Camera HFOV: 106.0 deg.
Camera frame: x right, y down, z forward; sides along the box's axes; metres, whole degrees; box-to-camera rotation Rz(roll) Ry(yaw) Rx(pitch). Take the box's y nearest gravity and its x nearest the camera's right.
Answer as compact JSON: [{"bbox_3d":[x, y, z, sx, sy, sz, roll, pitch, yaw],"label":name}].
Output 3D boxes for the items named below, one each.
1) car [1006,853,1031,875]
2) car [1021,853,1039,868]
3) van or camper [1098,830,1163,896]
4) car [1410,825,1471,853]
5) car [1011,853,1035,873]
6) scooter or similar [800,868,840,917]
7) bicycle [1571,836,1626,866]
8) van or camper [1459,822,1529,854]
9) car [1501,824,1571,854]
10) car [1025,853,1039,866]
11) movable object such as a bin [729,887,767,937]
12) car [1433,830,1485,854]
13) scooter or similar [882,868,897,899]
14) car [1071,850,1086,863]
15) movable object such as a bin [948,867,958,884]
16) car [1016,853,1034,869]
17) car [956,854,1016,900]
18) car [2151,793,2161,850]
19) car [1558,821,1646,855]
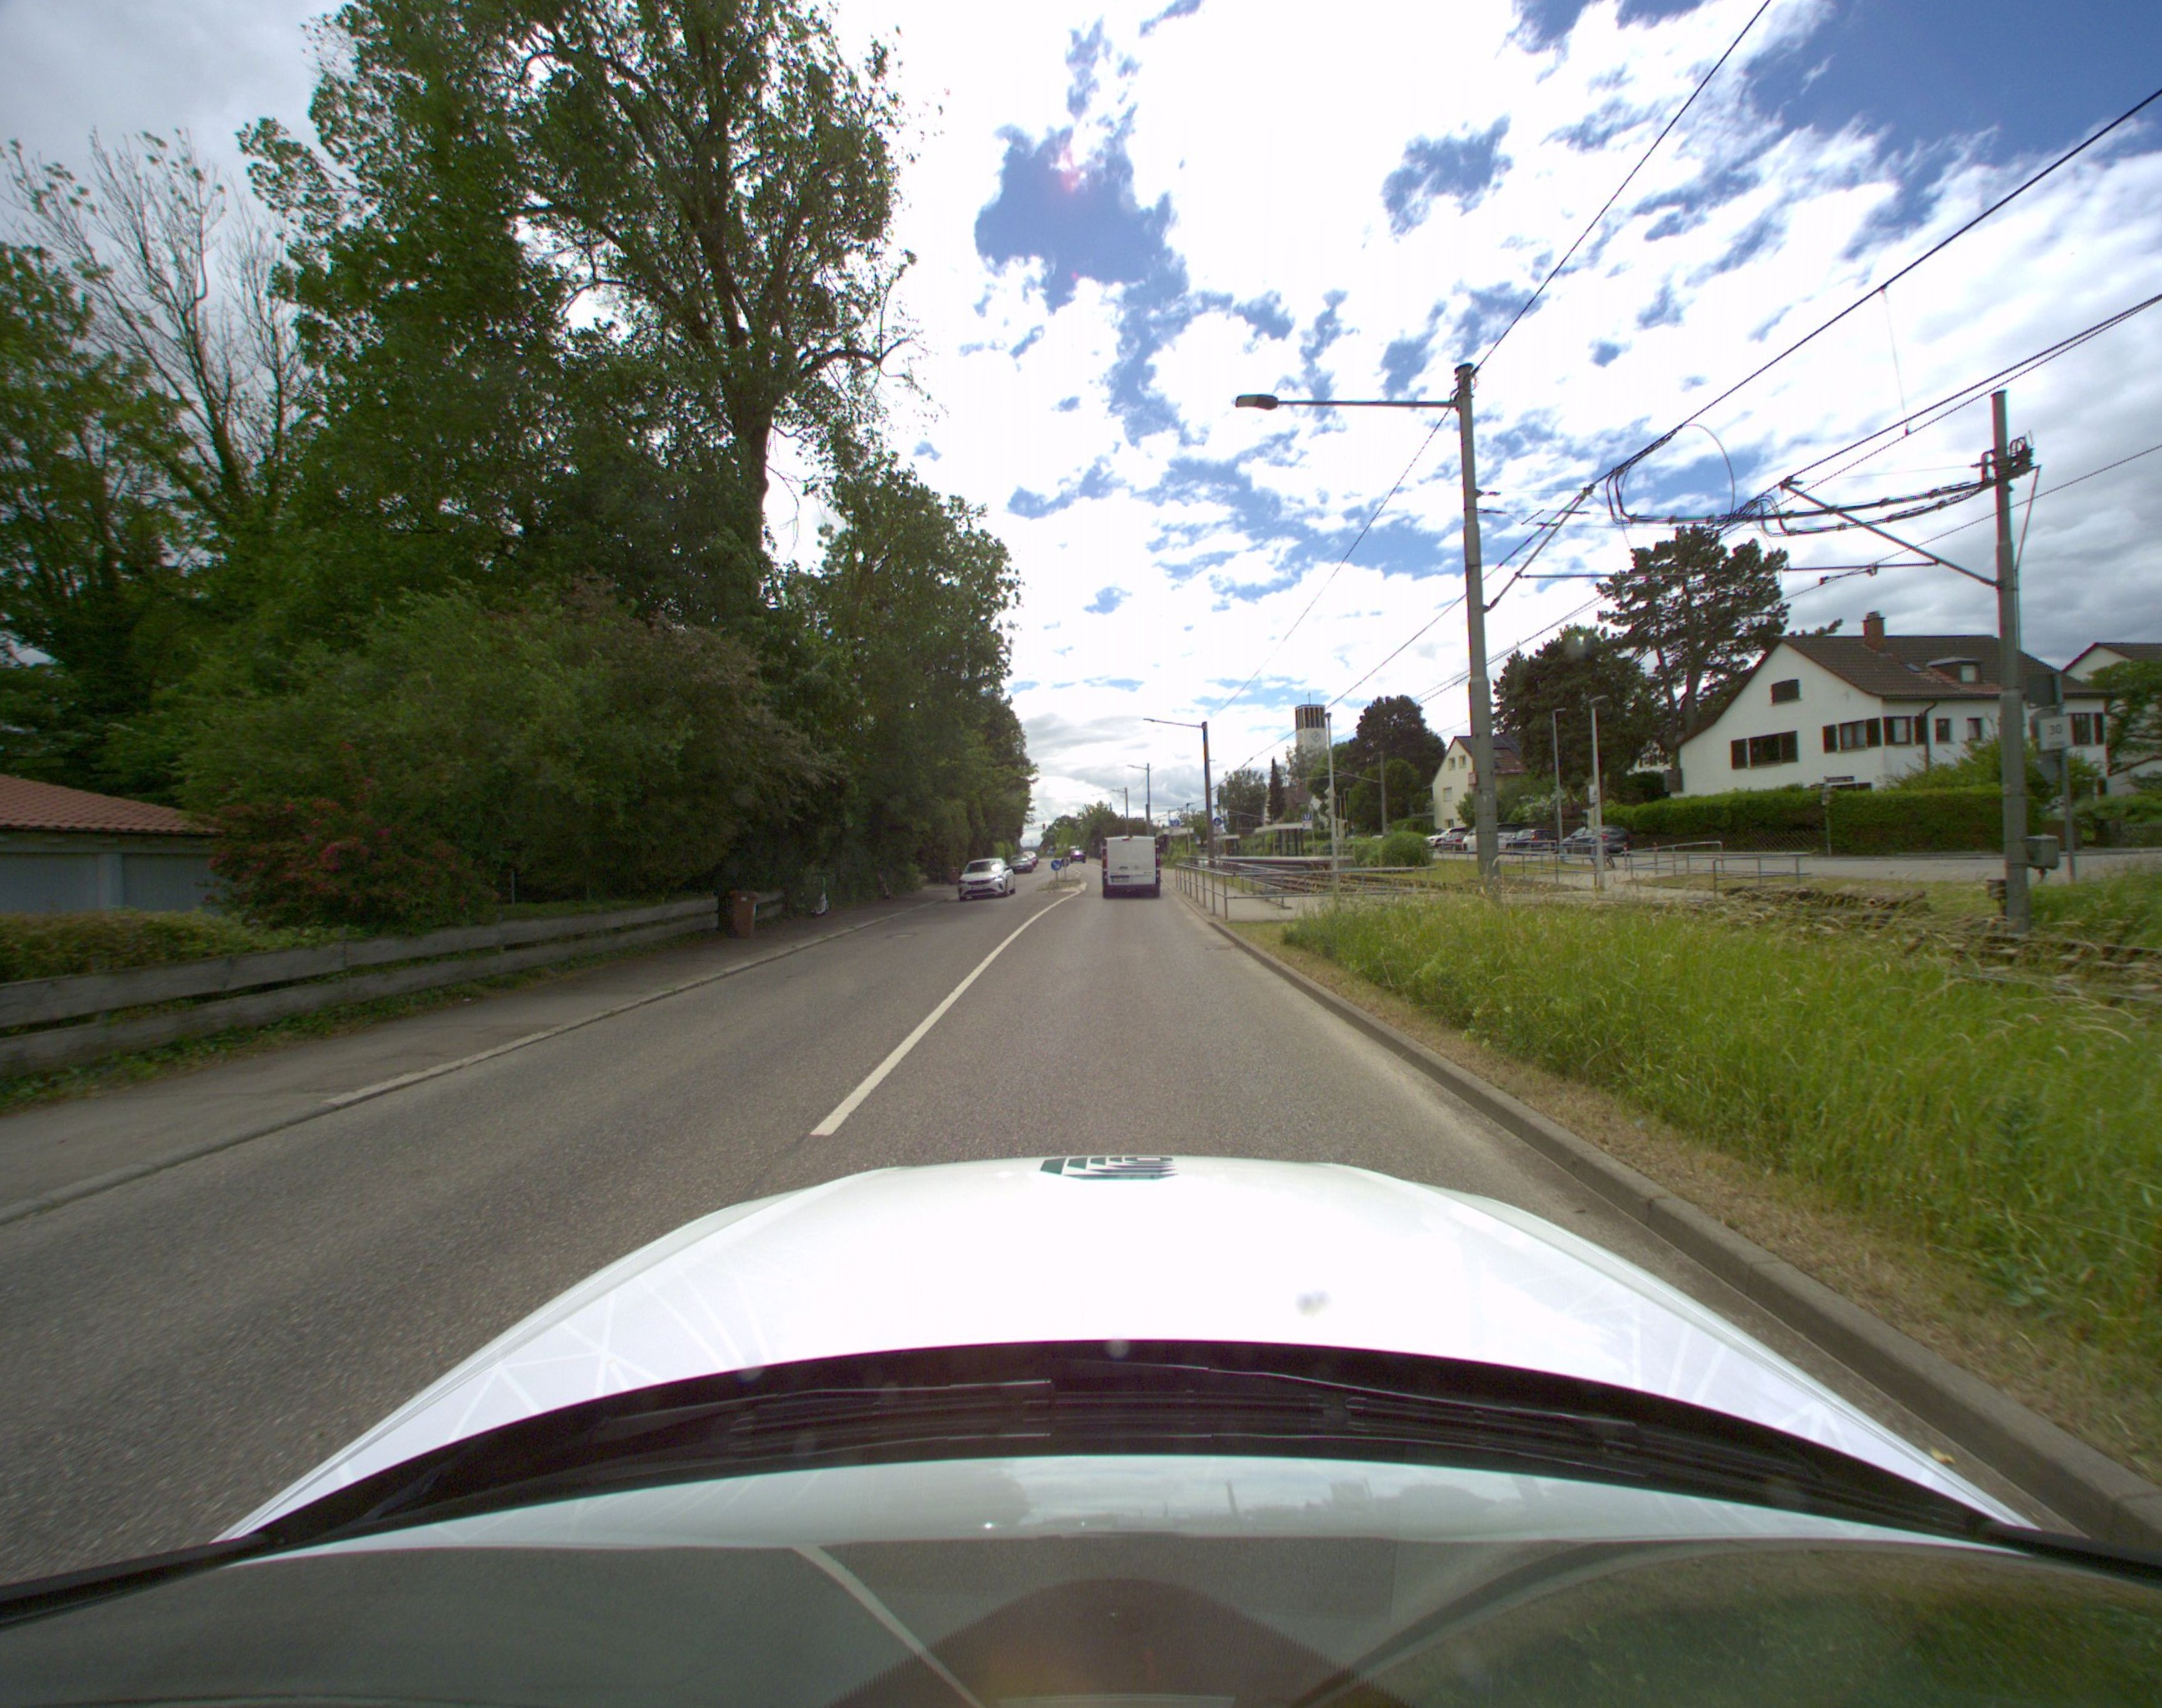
[{"bbox_3d":[-4.781,0.769,62.846,1.733,1.505,4.472,-4,0,-4],"label":"car"},{"bbox_3d":[-5.531,0.683,88.164,1.758,1.471,4.179,-3,0,-4],"label":"car"},{"bbox_3d":[1.662,0.304,27.483,1.985,2.014,4.449,-1,-1,3],"label":"van or camper"},{"bbox_3d":[30.337,-1.229,68.734,4.319,1.943,1.744,-5,0,-4],"label":"car"},{"bbox_3d":[-4.891,0.769,68.620,1.732,1.505,3.960,-4,0,-2],"label":"car"},{"bbox_3d":[-6.977,1.010,21.859,0.406,1.199,1.641,-2,0,4],"label":"scooter or similar"},{"bbox_3d":[19.206,-0.110,30.280,0.536,1.045,2.542,-2,0,4],"label":"bicycle"},{"bbox_3d":[25.634,-0.951,50.766,1.898,1.826,5.050,-2,0,2],"label":"van or camper"},{"bbox_3d":[25.478,-0.791,45.769,1.875,1.522,4.004,-2,0,4],"label":"car"},{"bbox_3d":[-6.638,0.692,109.621,1.758,1.625,4.179,-3,0,-4],"label":"car"},{"bbox_3d":[-6.684,1.157,16.358,0.511,0.945,0.569,-1,0,2],"label":"movable object such as a bin"},{"bbox_3d":[26.070,-0.831,56.290,1.875,1.522,4.004,-2,0,4],"label":"car"},{"bbox_3d":[-7.085,1.081,30.110,0.478,1.081,1.207,-1,0,-16],"label":"scooter or similar"},{"bbox_3d":[-0.299,0.322,103.795,1.846,1.648,3.734,-2,0,0],"label":"car"},{"bbox_3d":[-6.867,1.161,43.791,0.463,0.930,0.428,2,-1,-15],"label":"movable object such as a bin"},{"bbox_3d":[-5.494,0.682,80.492,1.584,1.505,3.512,-4,0,-2],"label":"car"},{"bbox_3d":[-3.399,0.795,29.786,1.689,1.430,3.785,-5,0,-1],"label":"car"},{"bbox_3d":[32.657,-0.997,22.819,3.722,1.623,1.818,-2,0,-12],"label":"car"},{"bbox_3d":[25.212,-0.734,39.606,1.875,1.522,4.004,-2,0,4],"label":"car"}]
